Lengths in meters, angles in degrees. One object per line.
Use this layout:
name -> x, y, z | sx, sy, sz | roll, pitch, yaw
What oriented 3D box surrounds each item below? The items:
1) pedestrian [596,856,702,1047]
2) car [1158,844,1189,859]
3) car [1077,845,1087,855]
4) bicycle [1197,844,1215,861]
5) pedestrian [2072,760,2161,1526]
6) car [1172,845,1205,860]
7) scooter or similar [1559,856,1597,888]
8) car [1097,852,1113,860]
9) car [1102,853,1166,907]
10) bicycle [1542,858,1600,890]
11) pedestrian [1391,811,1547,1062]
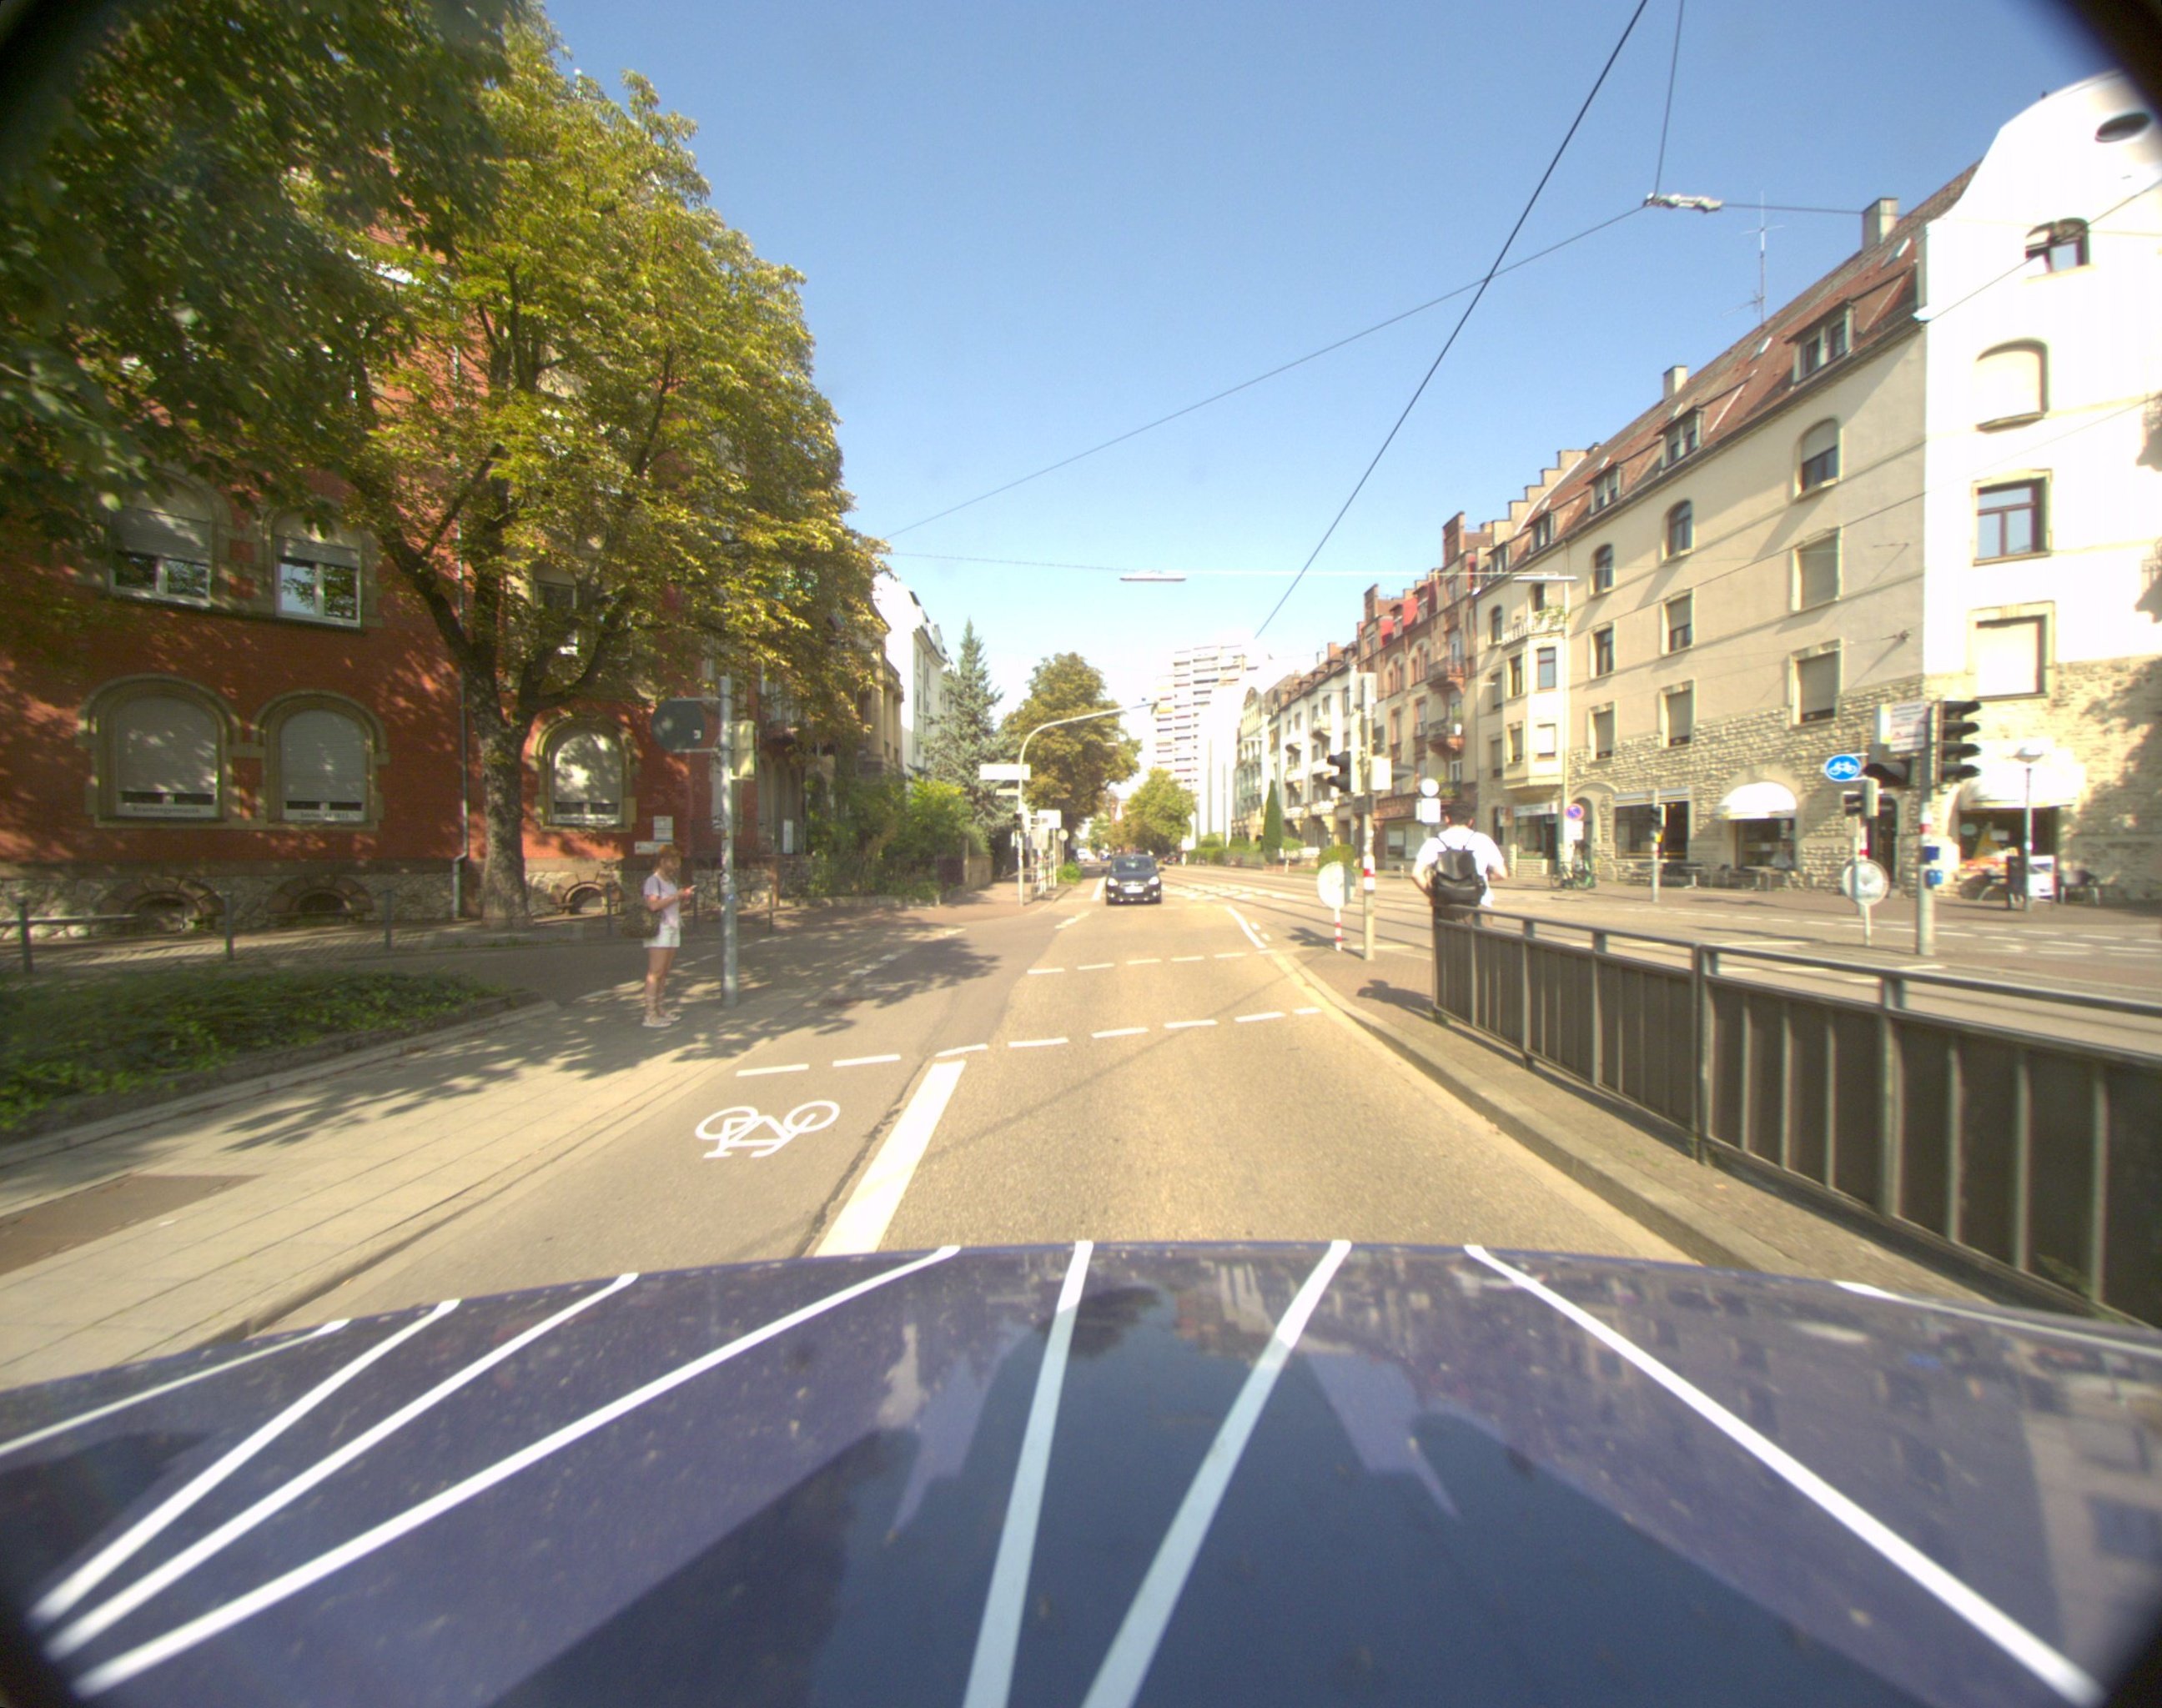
pedestrian -> -4.061, 0.880, 7.174 | 0.543, 1.708, 0.662 | 0, 1, 9
car -> 13.370, -0.357, 109.588 | 4.006, 2.002, 1.995 | -1, 1, -28
car -> 0.251, -0.864, 168.766 | 2.087, 2.264, 4.826 | -1, 1, 0
bicycle -> 14.303, -0.204, 87.049 | 1.015, 1.847, 3.553 | -2, 1, -7
pedestrian -> 2.797, 0.676, 1.583 | 0.560, 1.792, 0.676 | 0, 1, 2
car -> 14.348, -0.190, 101.383 | 4.006, 2.002, 1.995 | -1, 1, -28
scooter or similar -> 18.508, 0.653, 28.289 | 0.443, 1.151, 1.092 | -1, 1, -38
car -> 4.912, 0.388, 155.227 | 1.995, 1.640, 4.007 | 0, 1, 25
car -> 1.628, 0.748, 23.791 | 1.775, 1.459, 4.000 | -1, 0, 3
bicycle -> 17.902, 0.720, 27.810 | 0.546, 1.097, 1.894 | -1, 1, -15
pedestrian -> 2.910, 0.599, 5.779 | 0.730, 1.759, 0.738 | -3, -2, 2
